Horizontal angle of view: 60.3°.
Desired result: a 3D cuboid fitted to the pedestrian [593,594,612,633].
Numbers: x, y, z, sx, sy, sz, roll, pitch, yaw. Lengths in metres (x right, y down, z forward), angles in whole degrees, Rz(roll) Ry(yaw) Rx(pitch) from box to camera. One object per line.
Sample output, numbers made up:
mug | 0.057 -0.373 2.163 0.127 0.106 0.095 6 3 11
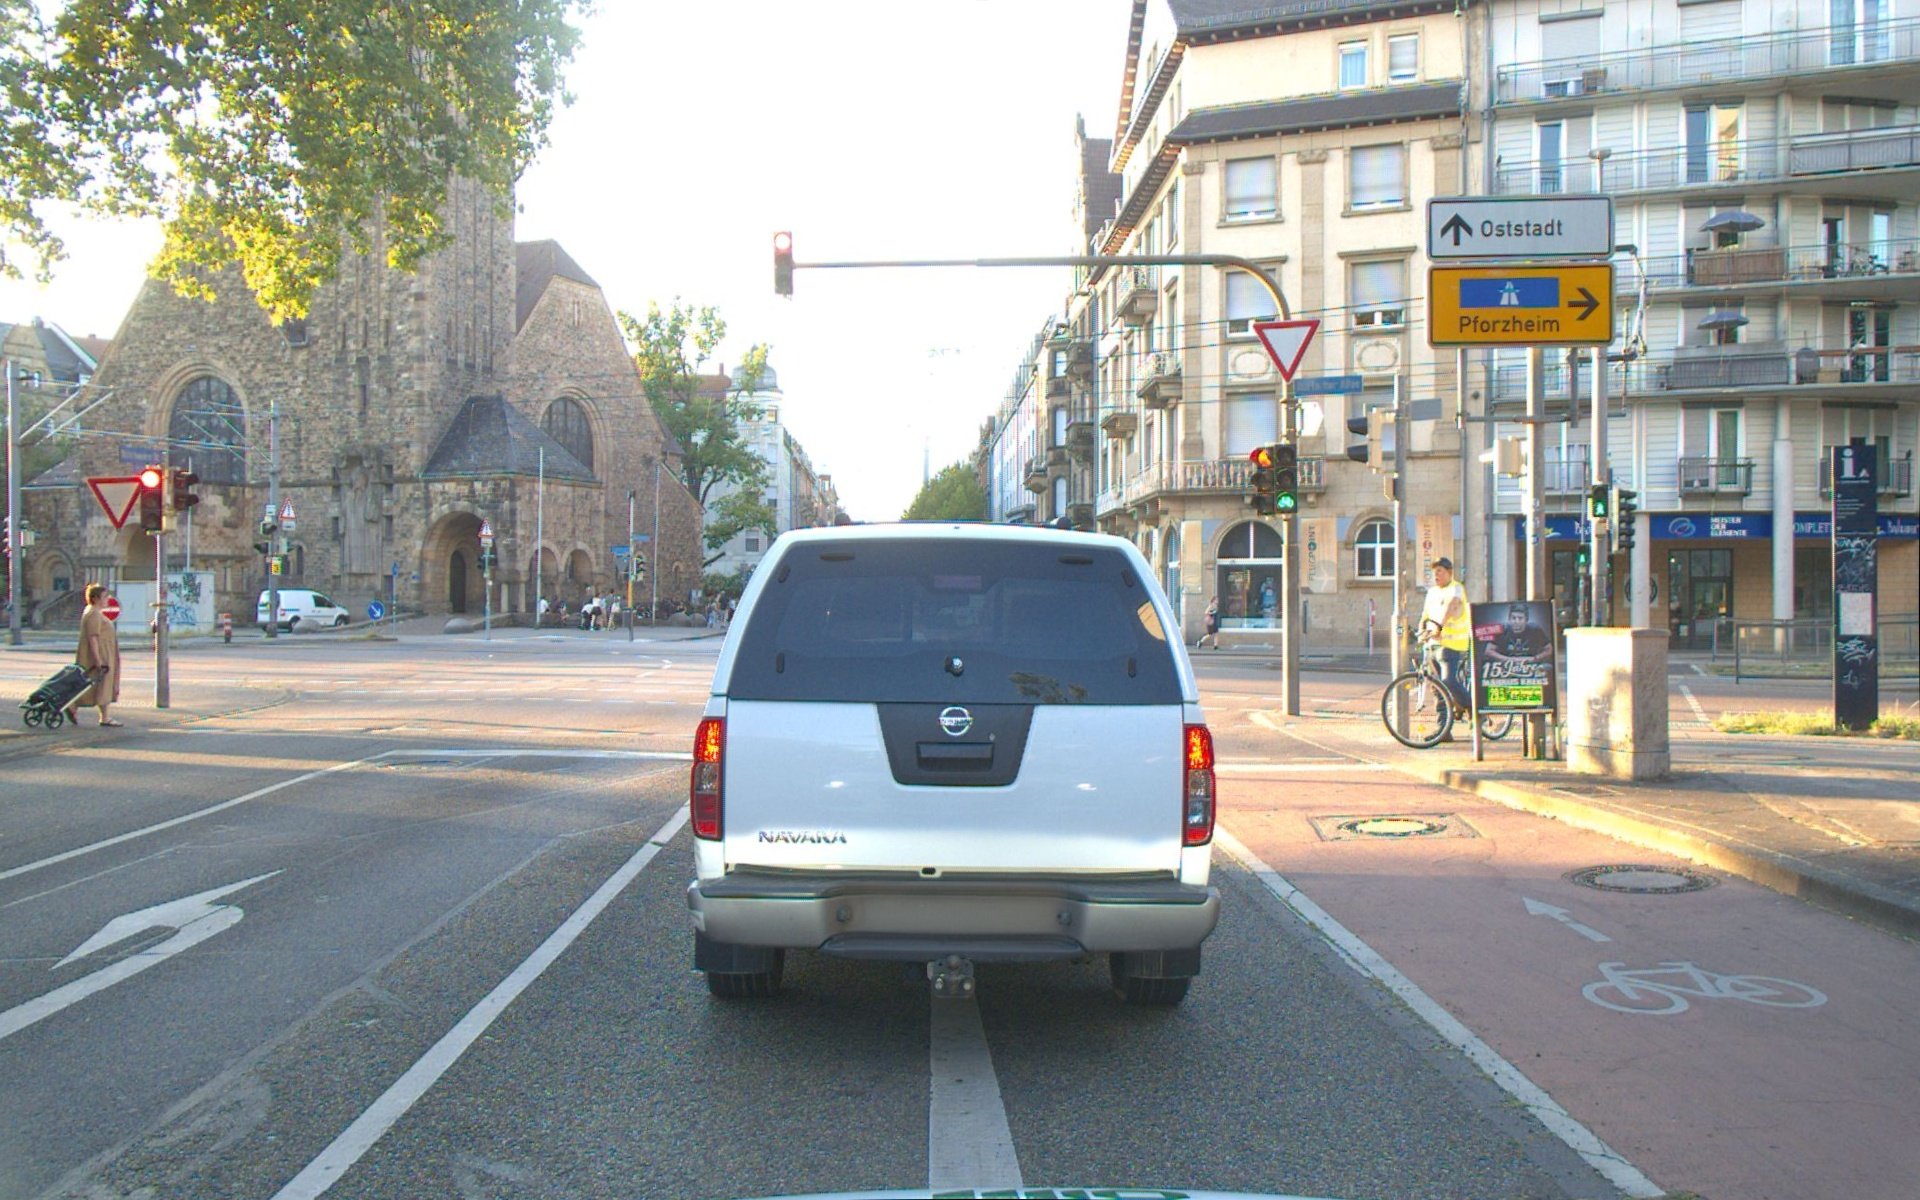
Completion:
pedestrian | -15.979 0.621 74.027 0.620 1.728 0.603 1 -1 10

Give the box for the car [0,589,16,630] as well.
car | -40.407 0.435 66.805 3.906 1.646 1.999 -2 0 24

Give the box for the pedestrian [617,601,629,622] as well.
pedestrian | -16.310 0.556 80.062 0.513 0.977 0.477 1 -1 -17

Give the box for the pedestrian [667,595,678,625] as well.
pedestrian | -16.905 0.576 97.257 0.631 1.725 0.560 1 -1 -10

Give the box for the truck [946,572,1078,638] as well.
truck | 2.221 0.231 68.823 5.630 2.610 2.250 1 -1 -45

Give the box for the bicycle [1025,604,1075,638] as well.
bicycle | 3.383 0.793 62.277 1.781 1.170 0.636 -3 -1 -3

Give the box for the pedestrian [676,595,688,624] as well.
pedestrian | -16.726 0.562 99.561 0.630 1.725 0.561 1 -1 -2

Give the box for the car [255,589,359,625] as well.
car | -29.211 0.330 74.102 1.679 1.543 4.454 1 -1 23

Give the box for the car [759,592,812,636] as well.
car | -7.583 0.565 72.269 1.953 1.815 4.796 0 1 -2

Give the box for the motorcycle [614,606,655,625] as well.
motorcycle | -18.400 0.865 93.429 2.201 1.005 0.707 1 -1 -7

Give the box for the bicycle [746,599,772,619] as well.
bicycle | -10.688 0.485 88.036 0.586 1.062 1.946 1 -1 18

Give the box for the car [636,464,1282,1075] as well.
car | -0.026 0.543 7.083 1.953 1.841 3.999 1 -1 -1

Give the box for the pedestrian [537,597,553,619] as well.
pedestrian | -18.721 0.360 74.678 0.511 0.977 0.479 1 -1 18

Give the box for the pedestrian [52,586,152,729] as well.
pedestrian | -10.215 0.680 19.716 0.786 1.656 0.773 1 -1 -6

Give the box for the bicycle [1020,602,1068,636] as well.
bicycle | 3.286 0.741 64.654 1.781 1.259 0.412 -3 -1 -3

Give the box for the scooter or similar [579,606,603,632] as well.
scooter or similar | -16.304 0.853 73.145 0.620 1.122 1.079 1 0 13

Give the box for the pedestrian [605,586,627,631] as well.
pedestrian | -14.980 0.380 72.083 0.796 1.934 0.666 1 -1 -3

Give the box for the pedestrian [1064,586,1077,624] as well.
pedestrian | 4.935 0.239 73.826 0.517 1.683 0.547 1 -1 -1

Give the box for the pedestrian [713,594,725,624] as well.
pedestrian | -15.396 0.563 105.586 0.632 1.888 0.559 1 -1 -15

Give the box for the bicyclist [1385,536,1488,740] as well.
bicyclist | 4.485 0.353 15.572 0.690 1.856 0.621 1 -1 -33

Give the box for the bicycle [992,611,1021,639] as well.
bicycle | 1.777 0.955 63.598 1.055 1.042 0.317 -3 -1 -3

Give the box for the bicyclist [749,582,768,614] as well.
bicyclist | -10.717 -0.108 88.003 0.586 1.673 0.963 1 -1 19

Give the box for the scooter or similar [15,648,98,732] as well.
scooter or similar | -10.283 1.012 18.853 0.580 0.913 0.849 1 -1 -11

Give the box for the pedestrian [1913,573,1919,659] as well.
pedestrian | 25.602 0.427 43.433 0.850 2.247 0.821 1 -1 19

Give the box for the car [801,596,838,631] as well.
car | -8.497 0.799 100.242 1.953 2.049 4.948 0 0 -2

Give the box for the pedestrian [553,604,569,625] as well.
pedestrian | -18.252 0.656 75.577 0.469 0.977 0.522 0 -1 29

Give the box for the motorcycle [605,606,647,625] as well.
motorcycle | -18.463 0.843 91.401 2.201 1.005 0.707 1 -1 -7

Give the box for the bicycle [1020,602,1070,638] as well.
bicycle | 3.247 0.756 63.216 1.781 1.259 0.487 -3 -1 -3

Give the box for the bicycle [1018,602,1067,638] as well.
bicycle | 3.198 0.767 63.926 1.781 1.259 0.477 -3 -1 -3

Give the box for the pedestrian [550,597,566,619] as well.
pedestrian | -18.107 0.367 74.412 0.511 0.977 0.479 1 -1 18

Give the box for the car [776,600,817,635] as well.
car | -8.151 0.838 82.863 1.955 1.585 4.764 -1 1 -5

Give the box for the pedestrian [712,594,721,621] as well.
pedestrian | -15.654 0.482 106.422 0.549 1.725 0.643 1 -1 -9

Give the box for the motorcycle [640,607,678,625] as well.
motorcycle | -17.432 0.903 95.733 2.119 1.005 0.594 1 -1 19

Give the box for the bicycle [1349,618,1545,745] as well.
bicycle | 4.631 0.751 15.669 2.046 1.129 0.621 1 -1 -34

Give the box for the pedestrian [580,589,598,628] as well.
pedestrian | -16.686 0.400 74.362 0.620 1.728 0.603 1 -1 5

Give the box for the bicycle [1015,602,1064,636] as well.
bicycle | 3.155 0.753 65.788 1.818 1.259 0.530 -3 -1 -3

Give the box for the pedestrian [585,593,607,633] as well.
pedestrian | -15.843 0.567 72.022 0.796 1.699 0.859 1 -1 -3

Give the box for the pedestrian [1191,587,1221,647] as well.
pedestrian | 7.428 0.511 49.990 0.771 1.810 0.543 0 -1 24
